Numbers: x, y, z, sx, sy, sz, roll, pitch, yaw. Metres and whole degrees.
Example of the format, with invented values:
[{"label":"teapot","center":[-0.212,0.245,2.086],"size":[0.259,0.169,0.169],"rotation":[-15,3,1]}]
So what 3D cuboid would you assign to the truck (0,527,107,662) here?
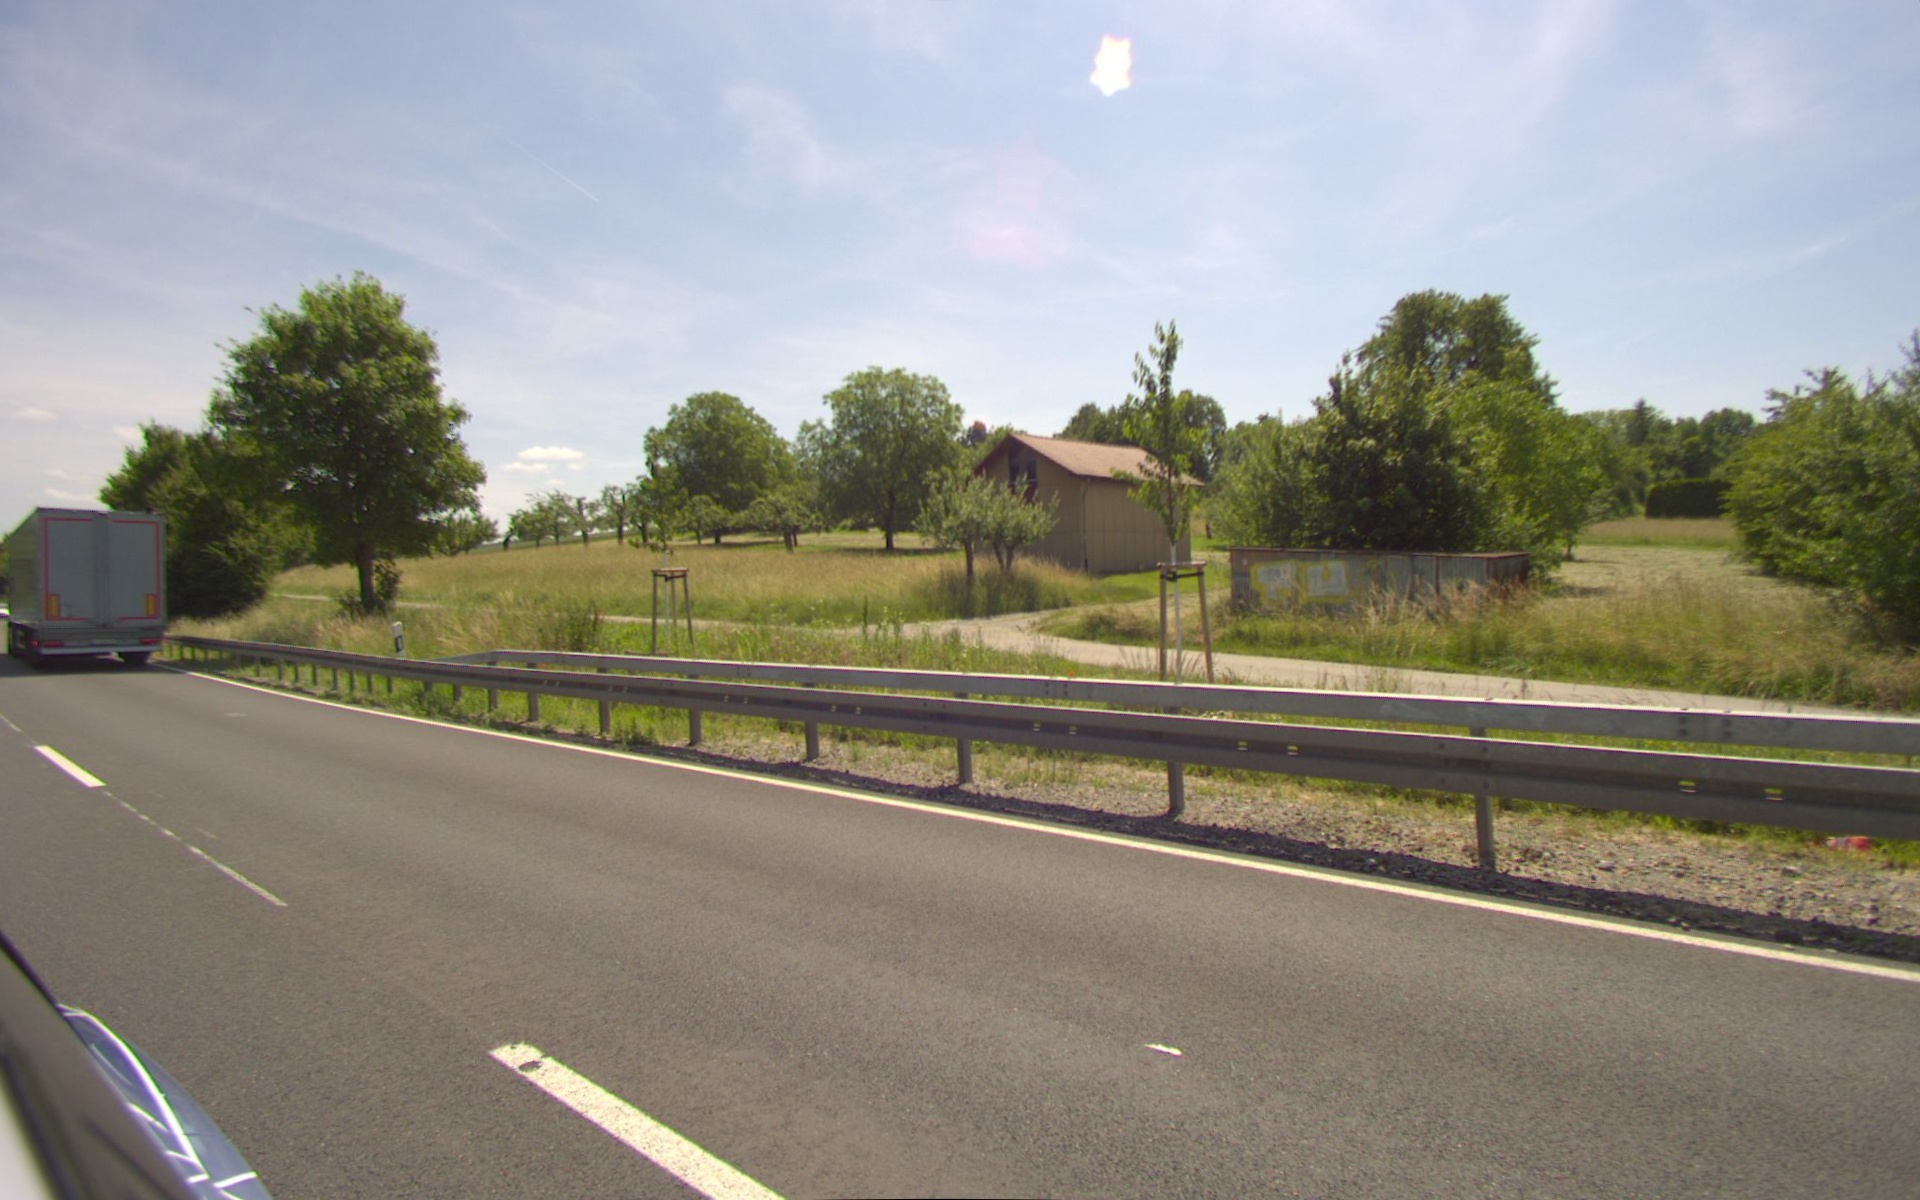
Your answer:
[{"label":"truck","center":[-30.985,-0.119,34.419],"size":[5.650,4.227,2.418],"rotation":[-1,-1,44]}]

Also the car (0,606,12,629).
[{"label":"car","center":[-90.165,1.632,94.444],"size":[1.967,2.029,4.010],"rotation":[0,-1,-35]}]

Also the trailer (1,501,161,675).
[{"label":"trailer","center":[-26.623,-0.192,30.280],"size":[14.019,4.216,2.418],"rotation":[-1,-1,44]}]
